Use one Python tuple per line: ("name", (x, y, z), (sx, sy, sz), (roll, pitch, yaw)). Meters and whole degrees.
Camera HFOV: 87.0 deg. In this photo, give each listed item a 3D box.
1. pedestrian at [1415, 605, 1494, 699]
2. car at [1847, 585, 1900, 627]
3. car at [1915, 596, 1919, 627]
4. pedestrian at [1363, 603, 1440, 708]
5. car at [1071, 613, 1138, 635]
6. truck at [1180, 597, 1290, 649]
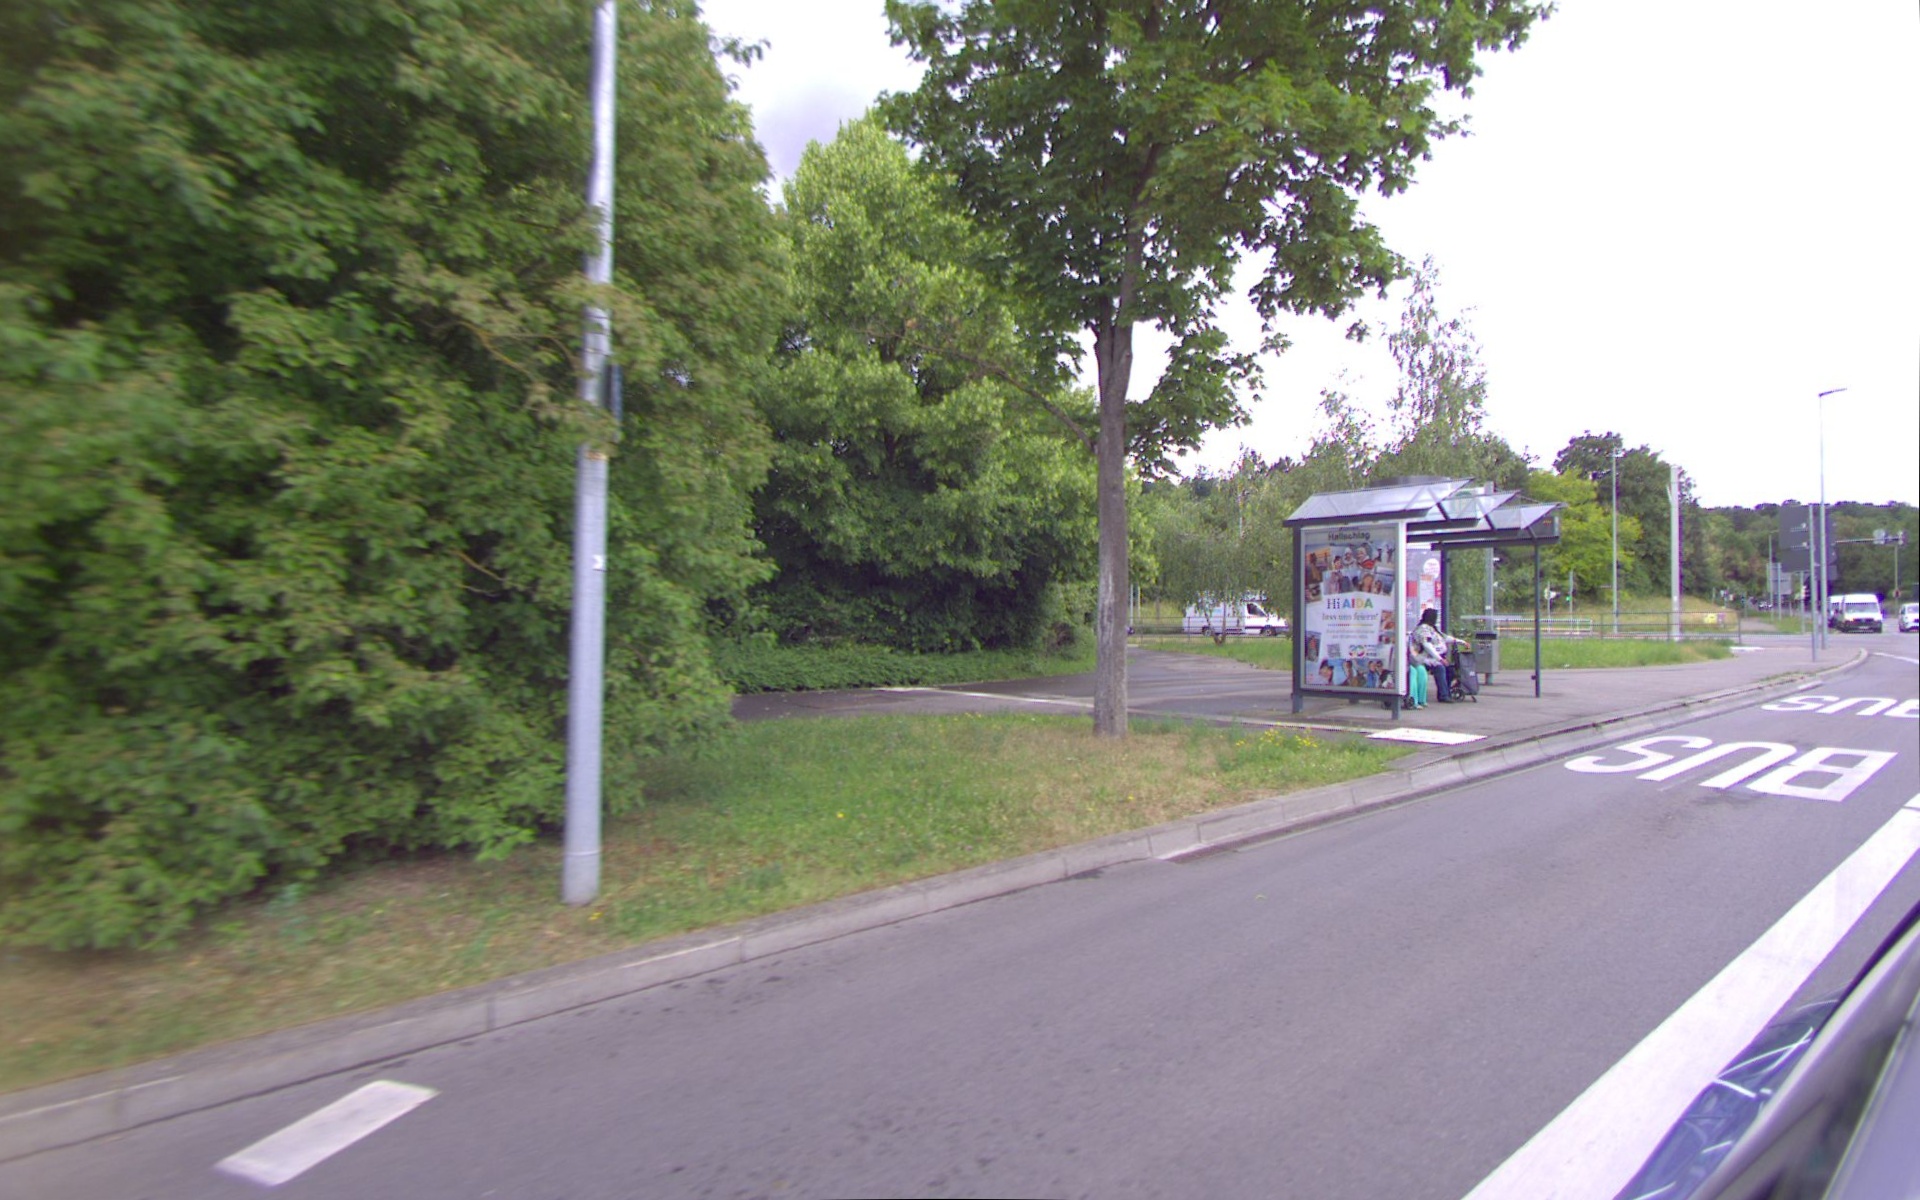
("pedestrian", (6.863, 0.713, 14.083), (0.763, 1.269, 0.770), (-1, -2, 8))
("car", (62.860, 0.434, 69.730), (2.216, 2.693, 5.877), (-3, -3, 38))
("car", (65.316, 0.708, 67.595), (2.113, 2.017, 4.909), (-4, -3, 43))
("pedestrian", (5.810, 0.713, 13.337), (0.578, 1.333, 0.730), (1, -2, -38))
("car", (9.458, 1.558, 66.260), (3.961, 1.416, 1.981), (-1, -1, 27))
("truck", (16.842, 1.419, 62.059), (6.208, 3.048, 2.094), (-1, 1, 26))
